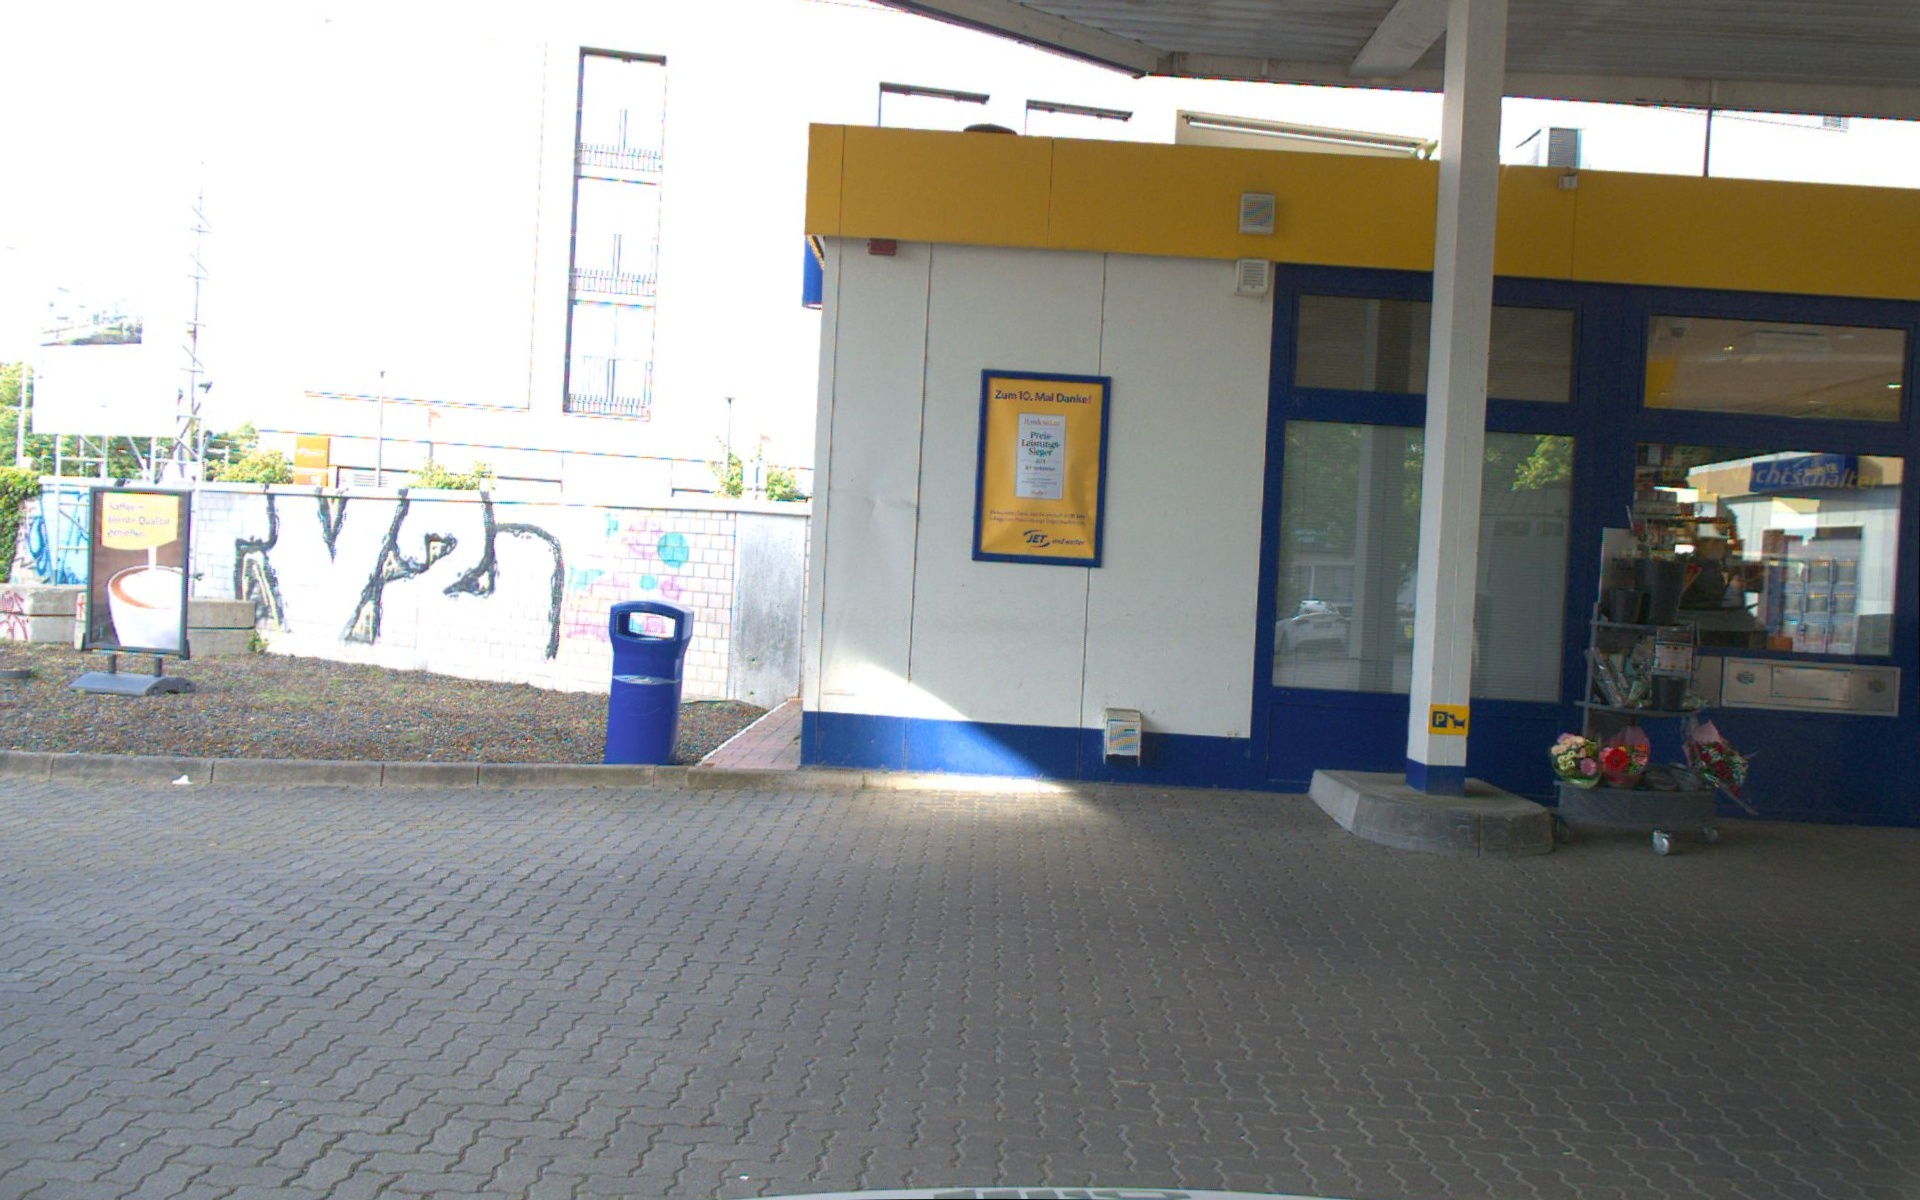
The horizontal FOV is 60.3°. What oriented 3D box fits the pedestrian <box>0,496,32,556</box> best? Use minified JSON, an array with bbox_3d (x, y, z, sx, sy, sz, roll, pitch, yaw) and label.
[{"bbox_3d":[-33.237,-2.591,58.188,0.793,2.049,0.847,1,-1,-17],"label":"pedestrian"}]
